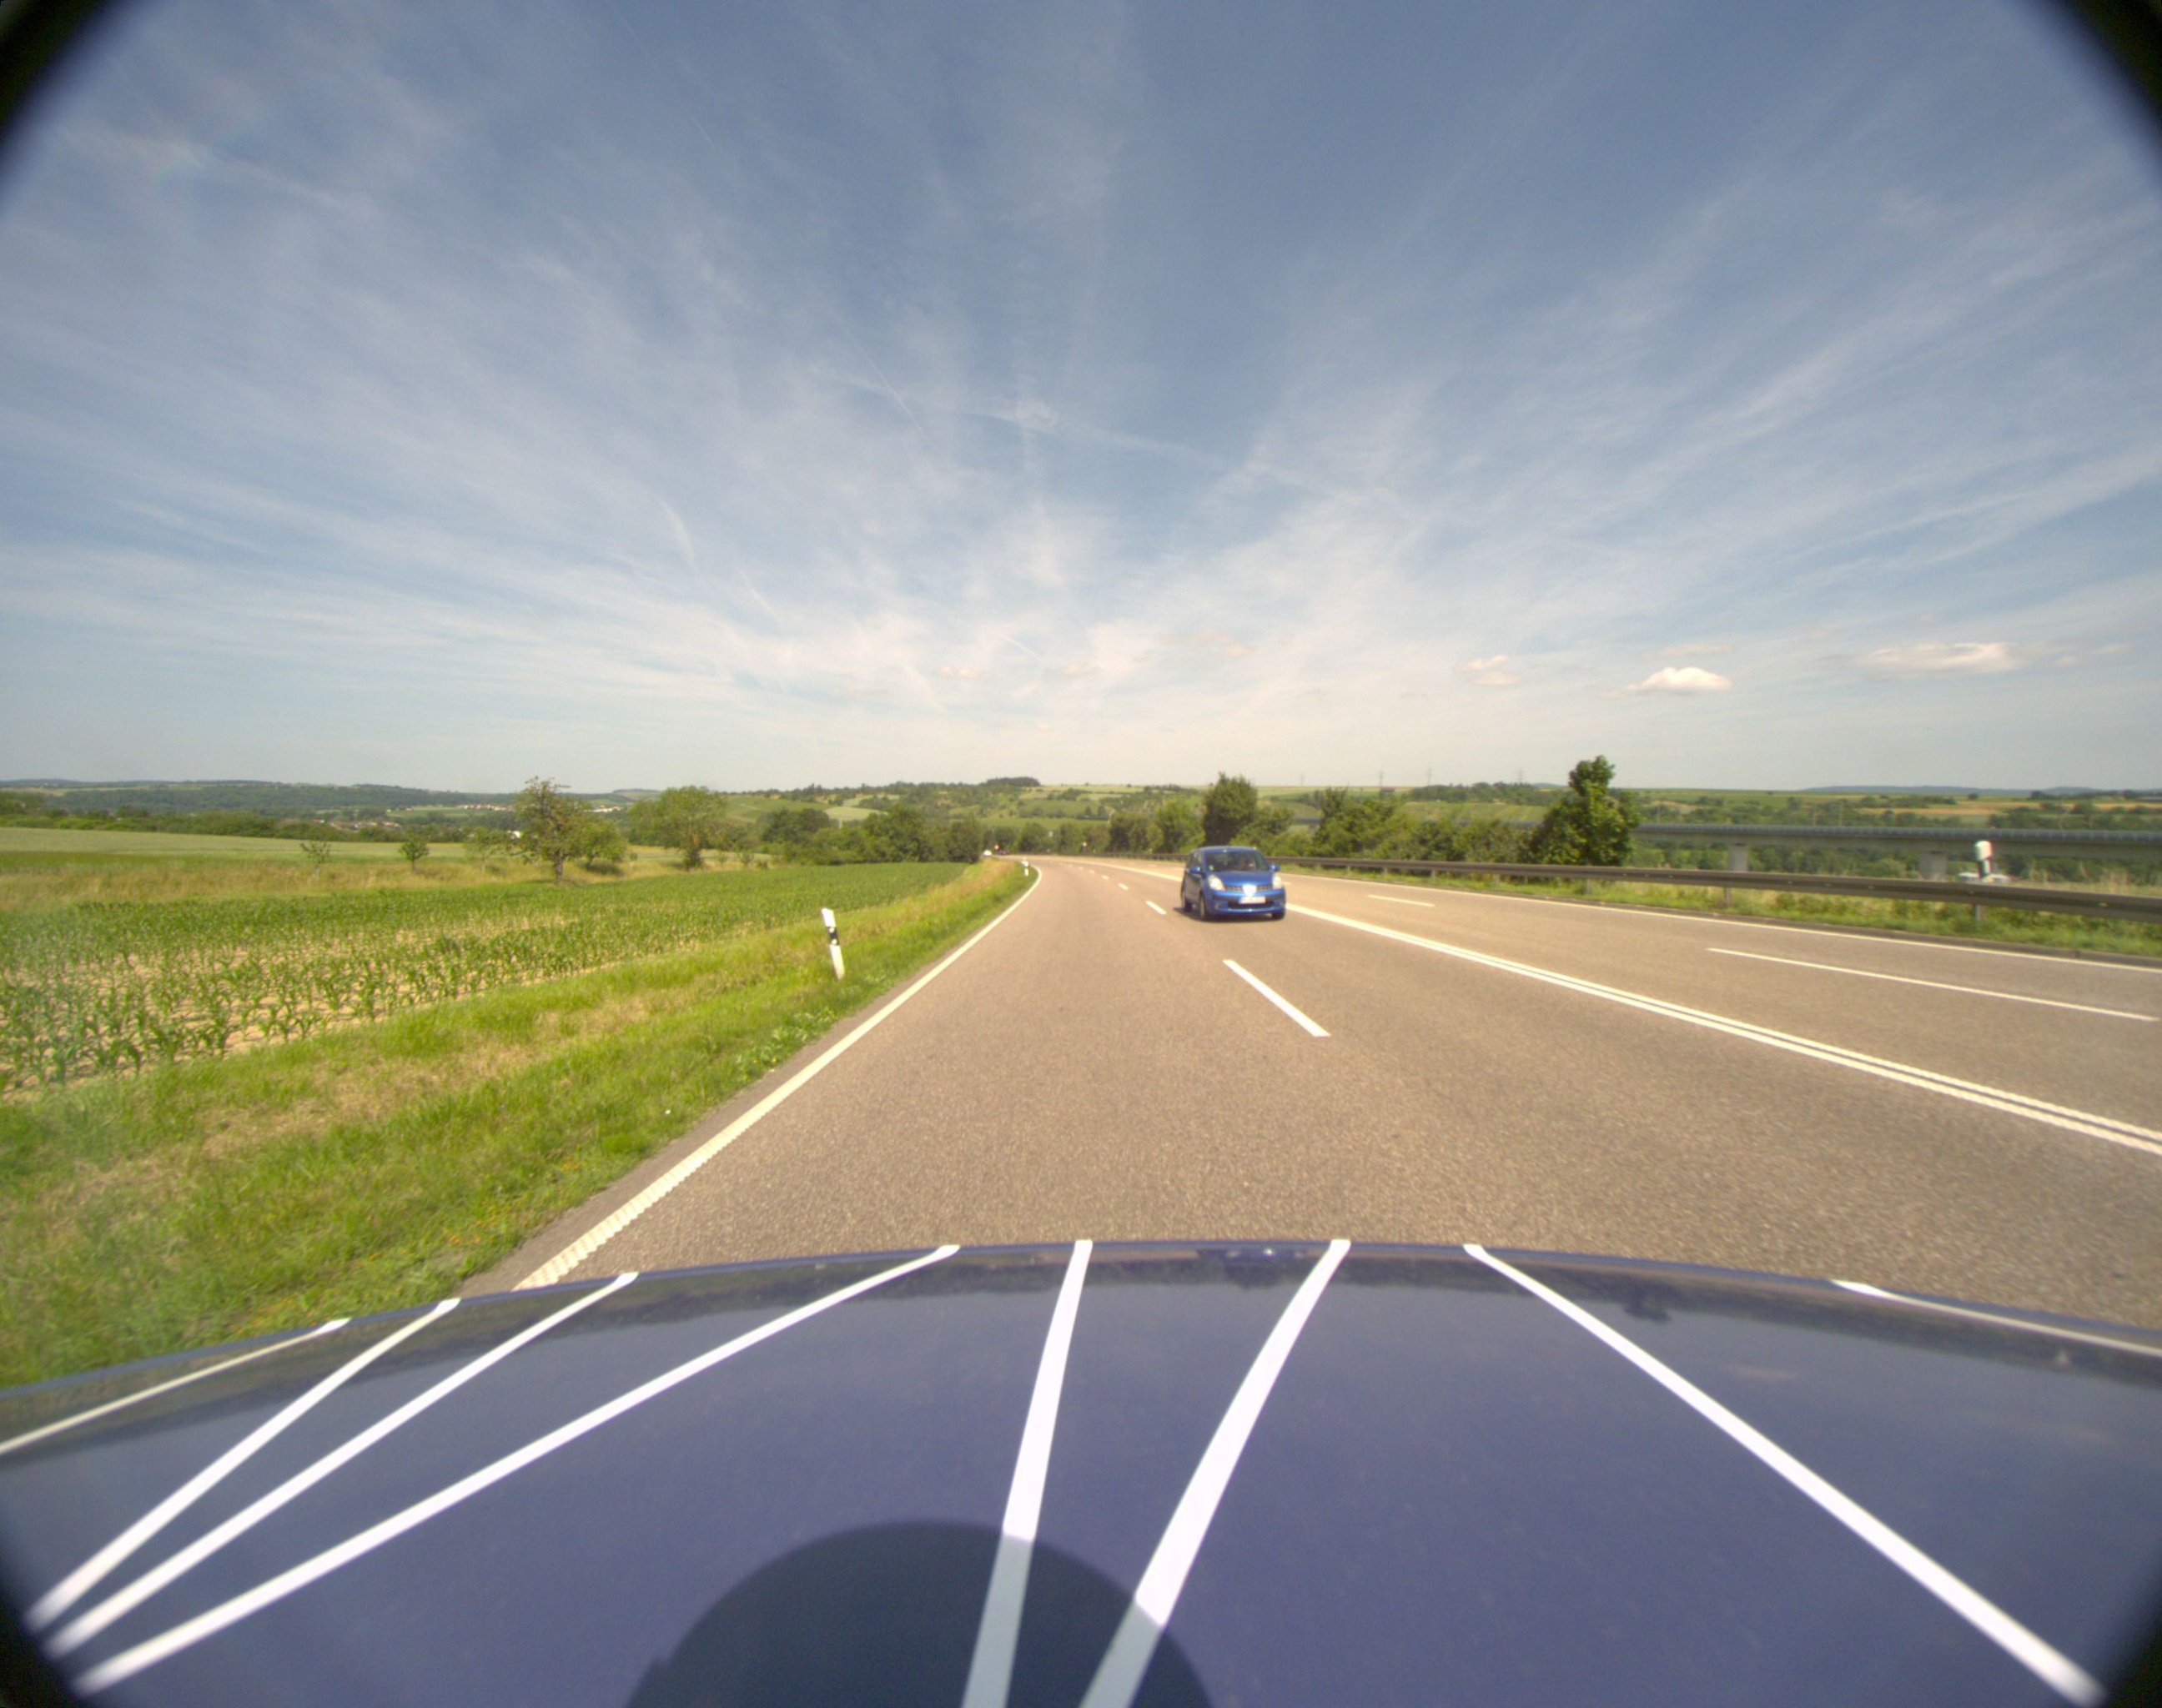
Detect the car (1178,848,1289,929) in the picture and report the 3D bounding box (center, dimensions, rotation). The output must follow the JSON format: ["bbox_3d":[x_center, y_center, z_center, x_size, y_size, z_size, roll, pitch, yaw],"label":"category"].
[{"bbox_3d":[3.243,0.655,16.834,1.636,1.522,3.914,-2,1,0],"label":"car"}]

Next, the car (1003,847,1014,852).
[{"bbox_3d":[-19.229,-1.161,200.567,1.844,1.447,4.318,-1,1,-20],"label":"car"}]

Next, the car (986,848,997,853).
[{"bbox_3d":[-25.508,-0.898,216.742,1.665,1.449,3.725,-2,1,-28],"label":"car"}]
